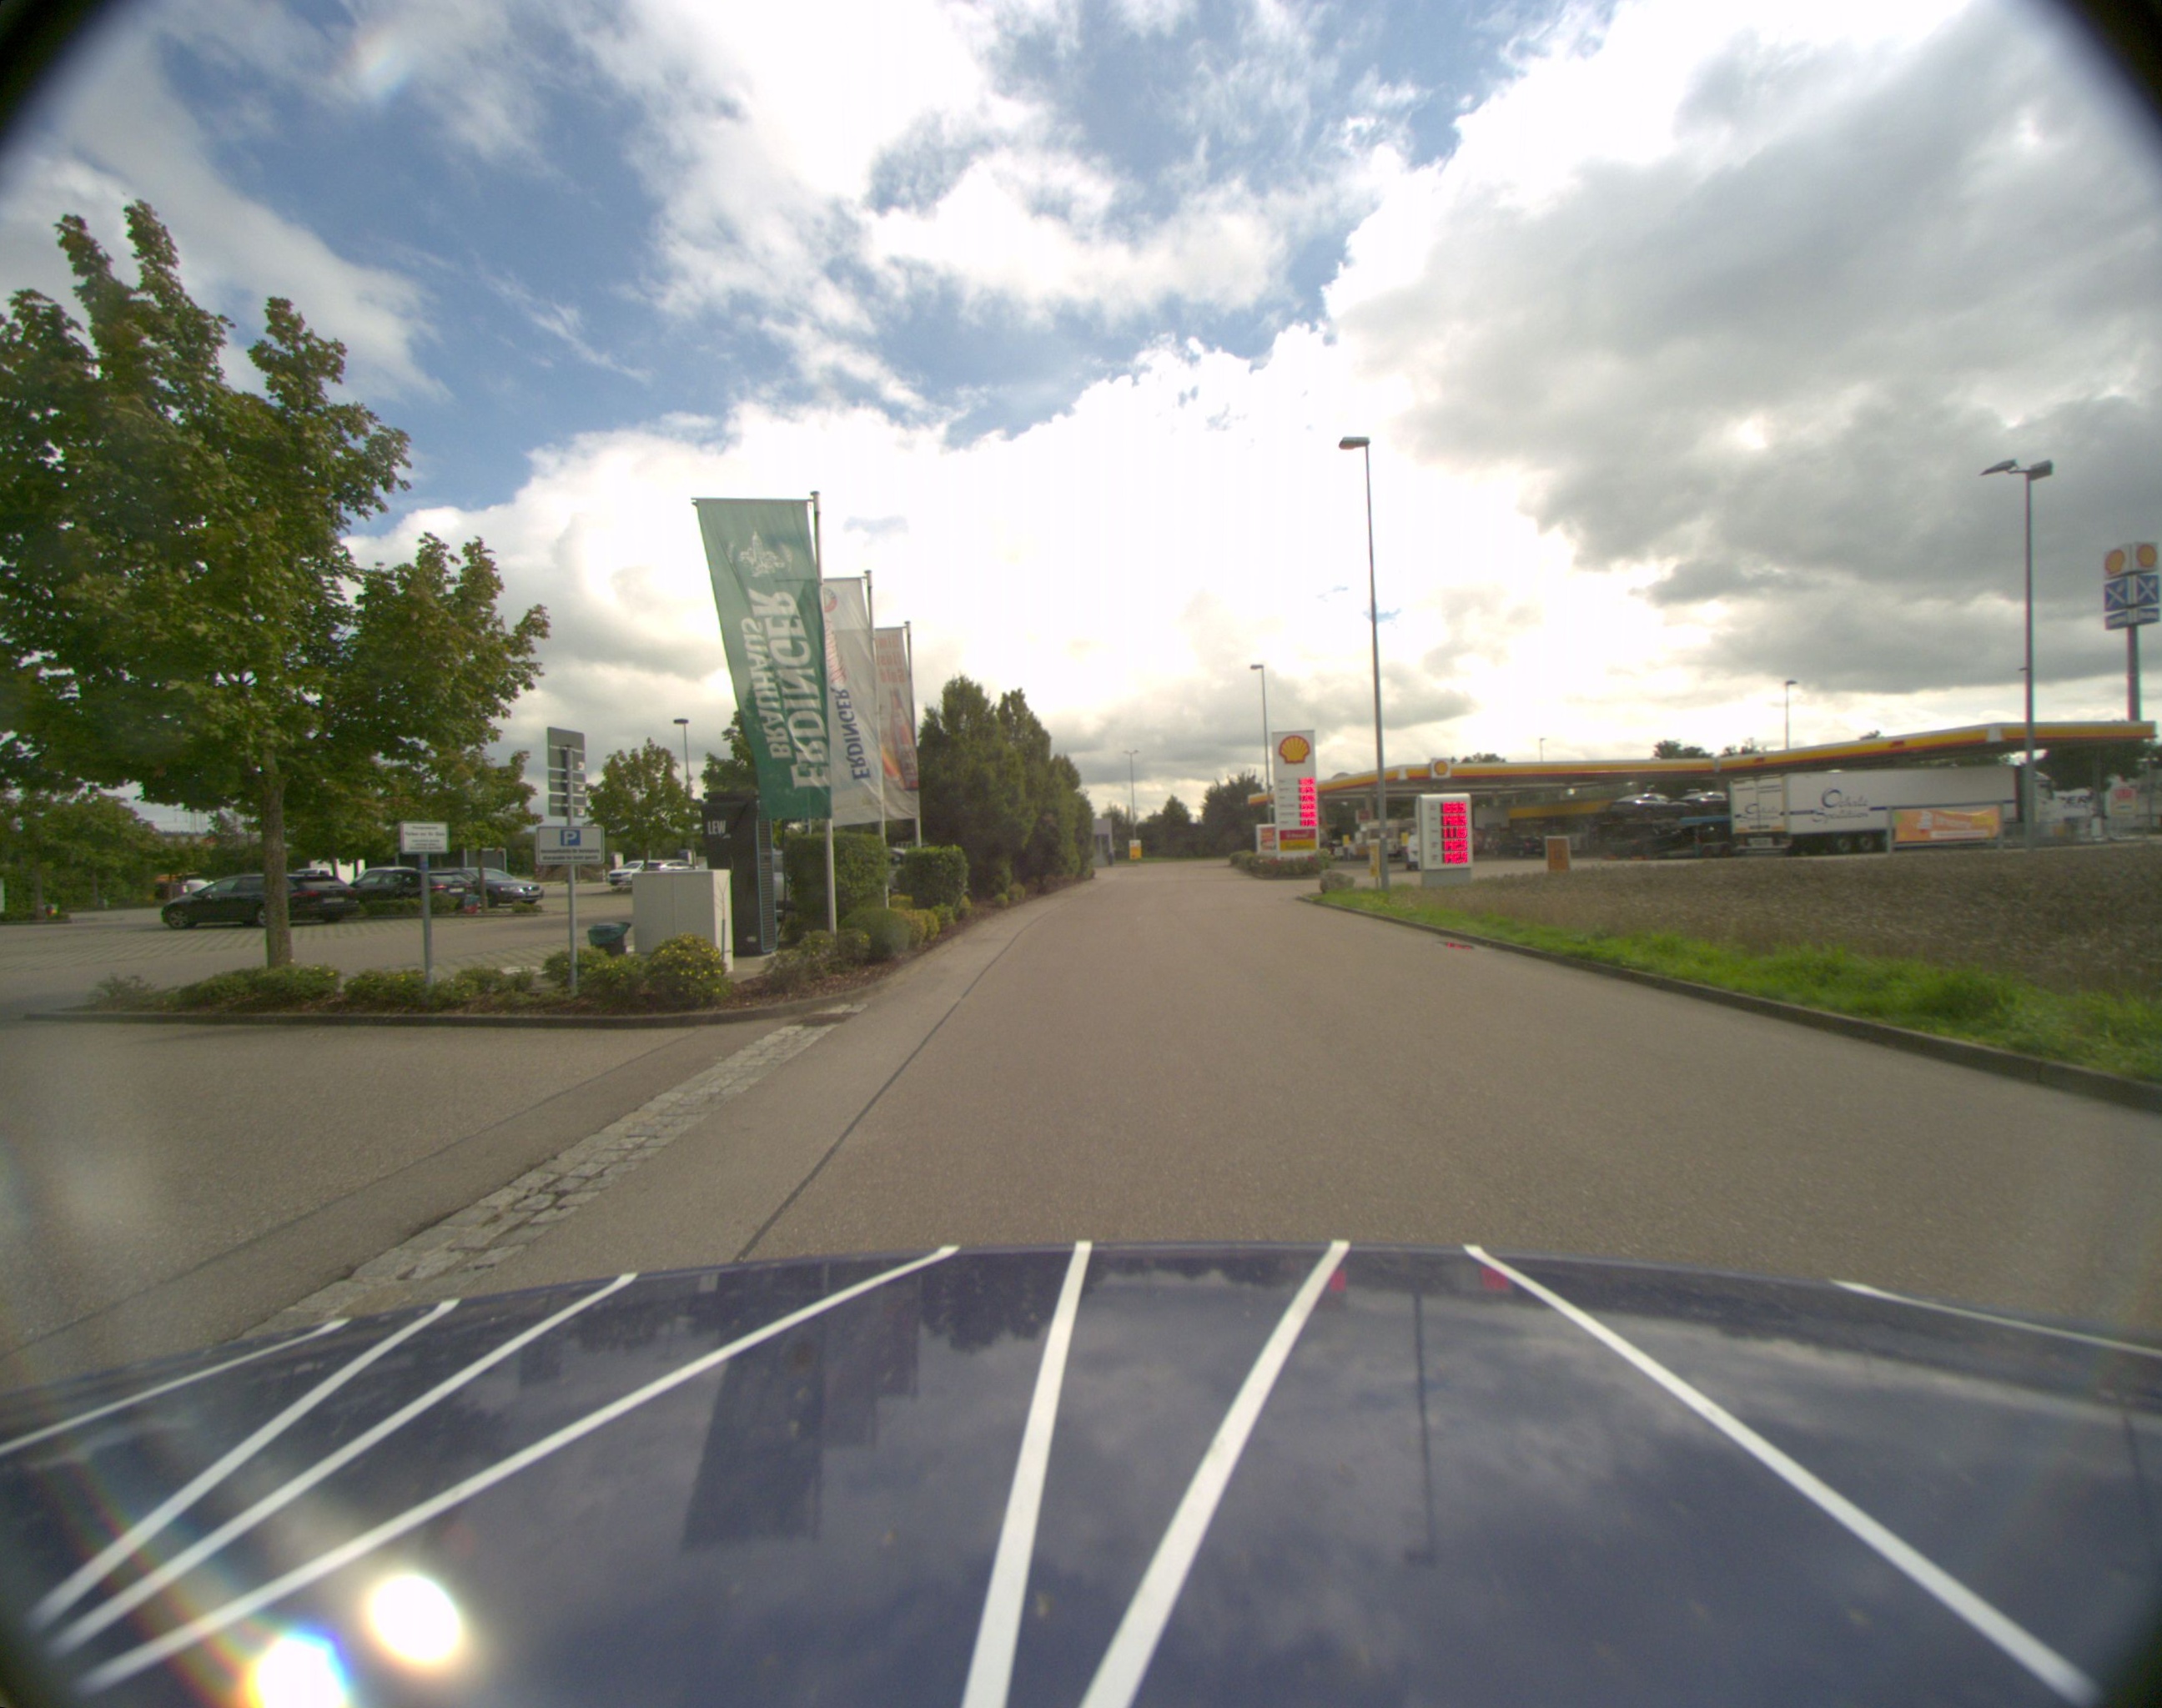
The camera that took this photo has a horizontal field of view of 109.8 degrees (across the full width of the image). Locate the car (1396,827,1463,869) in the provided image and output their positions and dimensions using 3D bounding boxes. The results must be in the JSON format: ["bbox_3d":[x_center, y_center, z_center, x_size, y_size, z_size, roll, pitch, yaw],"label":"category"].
[{"bbox_3d":[17.724,-0.323,38.565,1.791,2.000,3.889,-2,0,44],"label":"car"}]

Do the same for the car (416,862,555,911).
[{"bbox_3d":[-21.611,1.182,27.613,3.992,1.562,2.002,-3,0,18],"label":"car"}]

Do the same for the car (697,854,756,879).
[{"bbox_3d":[-24.815,0.851,53.360,1.720,1.605,4.002,-2,0,9],"label":"car"}]

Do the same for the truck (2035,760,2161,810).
[{"bbox_3d":[92.236,-6.007,64.954,12.977,3.871,2.829,-1,2,36],"label":"truck"}]

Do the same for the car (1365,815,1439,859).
[{"bbox_3d":[21.636,-1.164,51.085,5.819,2.770,2.218,-3,1,-41],"label":"car"}]

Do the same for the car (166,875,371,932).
[{"bbox_3d":[-22.725,1.369,21.314,4.270,1.338,1.722,-2,0,8],"label":"car"}]

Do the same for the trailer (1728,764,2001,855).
[{"bbox_3d":[39.256,-2.213,38.109,12.848,4.001,2.710,-2,1,-10],"label":"trailer"}]

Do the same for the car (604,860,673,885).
[{"bbox_3d":[-30.982,1.278,53.326,1.713,1.510,4.005,-2,1,18],"label":"car"}]

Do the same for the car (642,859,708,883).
[{"bbox_3d":[-28.284,1.157,53.071,1.603,1.510,4.005,-2,1,18],"label":"car"}]

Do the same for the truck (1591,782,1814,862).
[{"bbox_3d":[34.712,-1.864,42.270,13.267,3.901,2.747,-3,2,-17],"label":"truck"}]

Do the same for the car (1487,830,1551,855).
[{"bbox_3d":[30.634,-0.754,53.295,1.717,1.592,3.757,-3,0,-13],"label":"car"}]

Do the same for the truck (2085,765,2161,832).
[{"bbox_3d":[68.780,-3.513,47.483,2.955,4.089,14.775,-1,2,35],"label":"truck"}]

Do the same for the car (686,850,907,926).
[{"bbox_3d":[-6.827,0.796,18.432,4.672,1.687,1.920,-1,1,12],"label":"car"}]

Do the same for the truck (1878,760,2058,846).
[{"bbox_3d":[45.711,-2.580,39.226,7.169,4.001,2.710,-3,1,-10],"label":"truck"}]

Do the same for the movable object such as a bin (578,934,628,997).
[{"bbox_3d":[-5.584,1.300,8.881,0.288,0.680,0.368,-2,1,12],"label":"movable object such as a bin"}]

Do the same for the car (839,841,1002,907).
[{"bbox_3d":[-4.696,0.582,22.496,4.358,1.706,1.658,-2,0,8],"label":"car"}]

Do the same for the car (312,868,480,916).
[{"bbox_3d":[-22.554,1.248,25.089,4.270,1.338,1.722,-2,0,8],"label":"car"}]

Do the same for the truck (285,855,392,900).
[{"bbox_3d":[-74.110,2.199,76.127,1.998,4.097,8.548,-3,0,0],"label":"truck"}]

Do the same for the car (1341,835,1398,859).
[{"bbox_3d":[20.828,-0.493,54.802,3.968,1.550,1.995,-3,0,-37],"label":"car"}]
